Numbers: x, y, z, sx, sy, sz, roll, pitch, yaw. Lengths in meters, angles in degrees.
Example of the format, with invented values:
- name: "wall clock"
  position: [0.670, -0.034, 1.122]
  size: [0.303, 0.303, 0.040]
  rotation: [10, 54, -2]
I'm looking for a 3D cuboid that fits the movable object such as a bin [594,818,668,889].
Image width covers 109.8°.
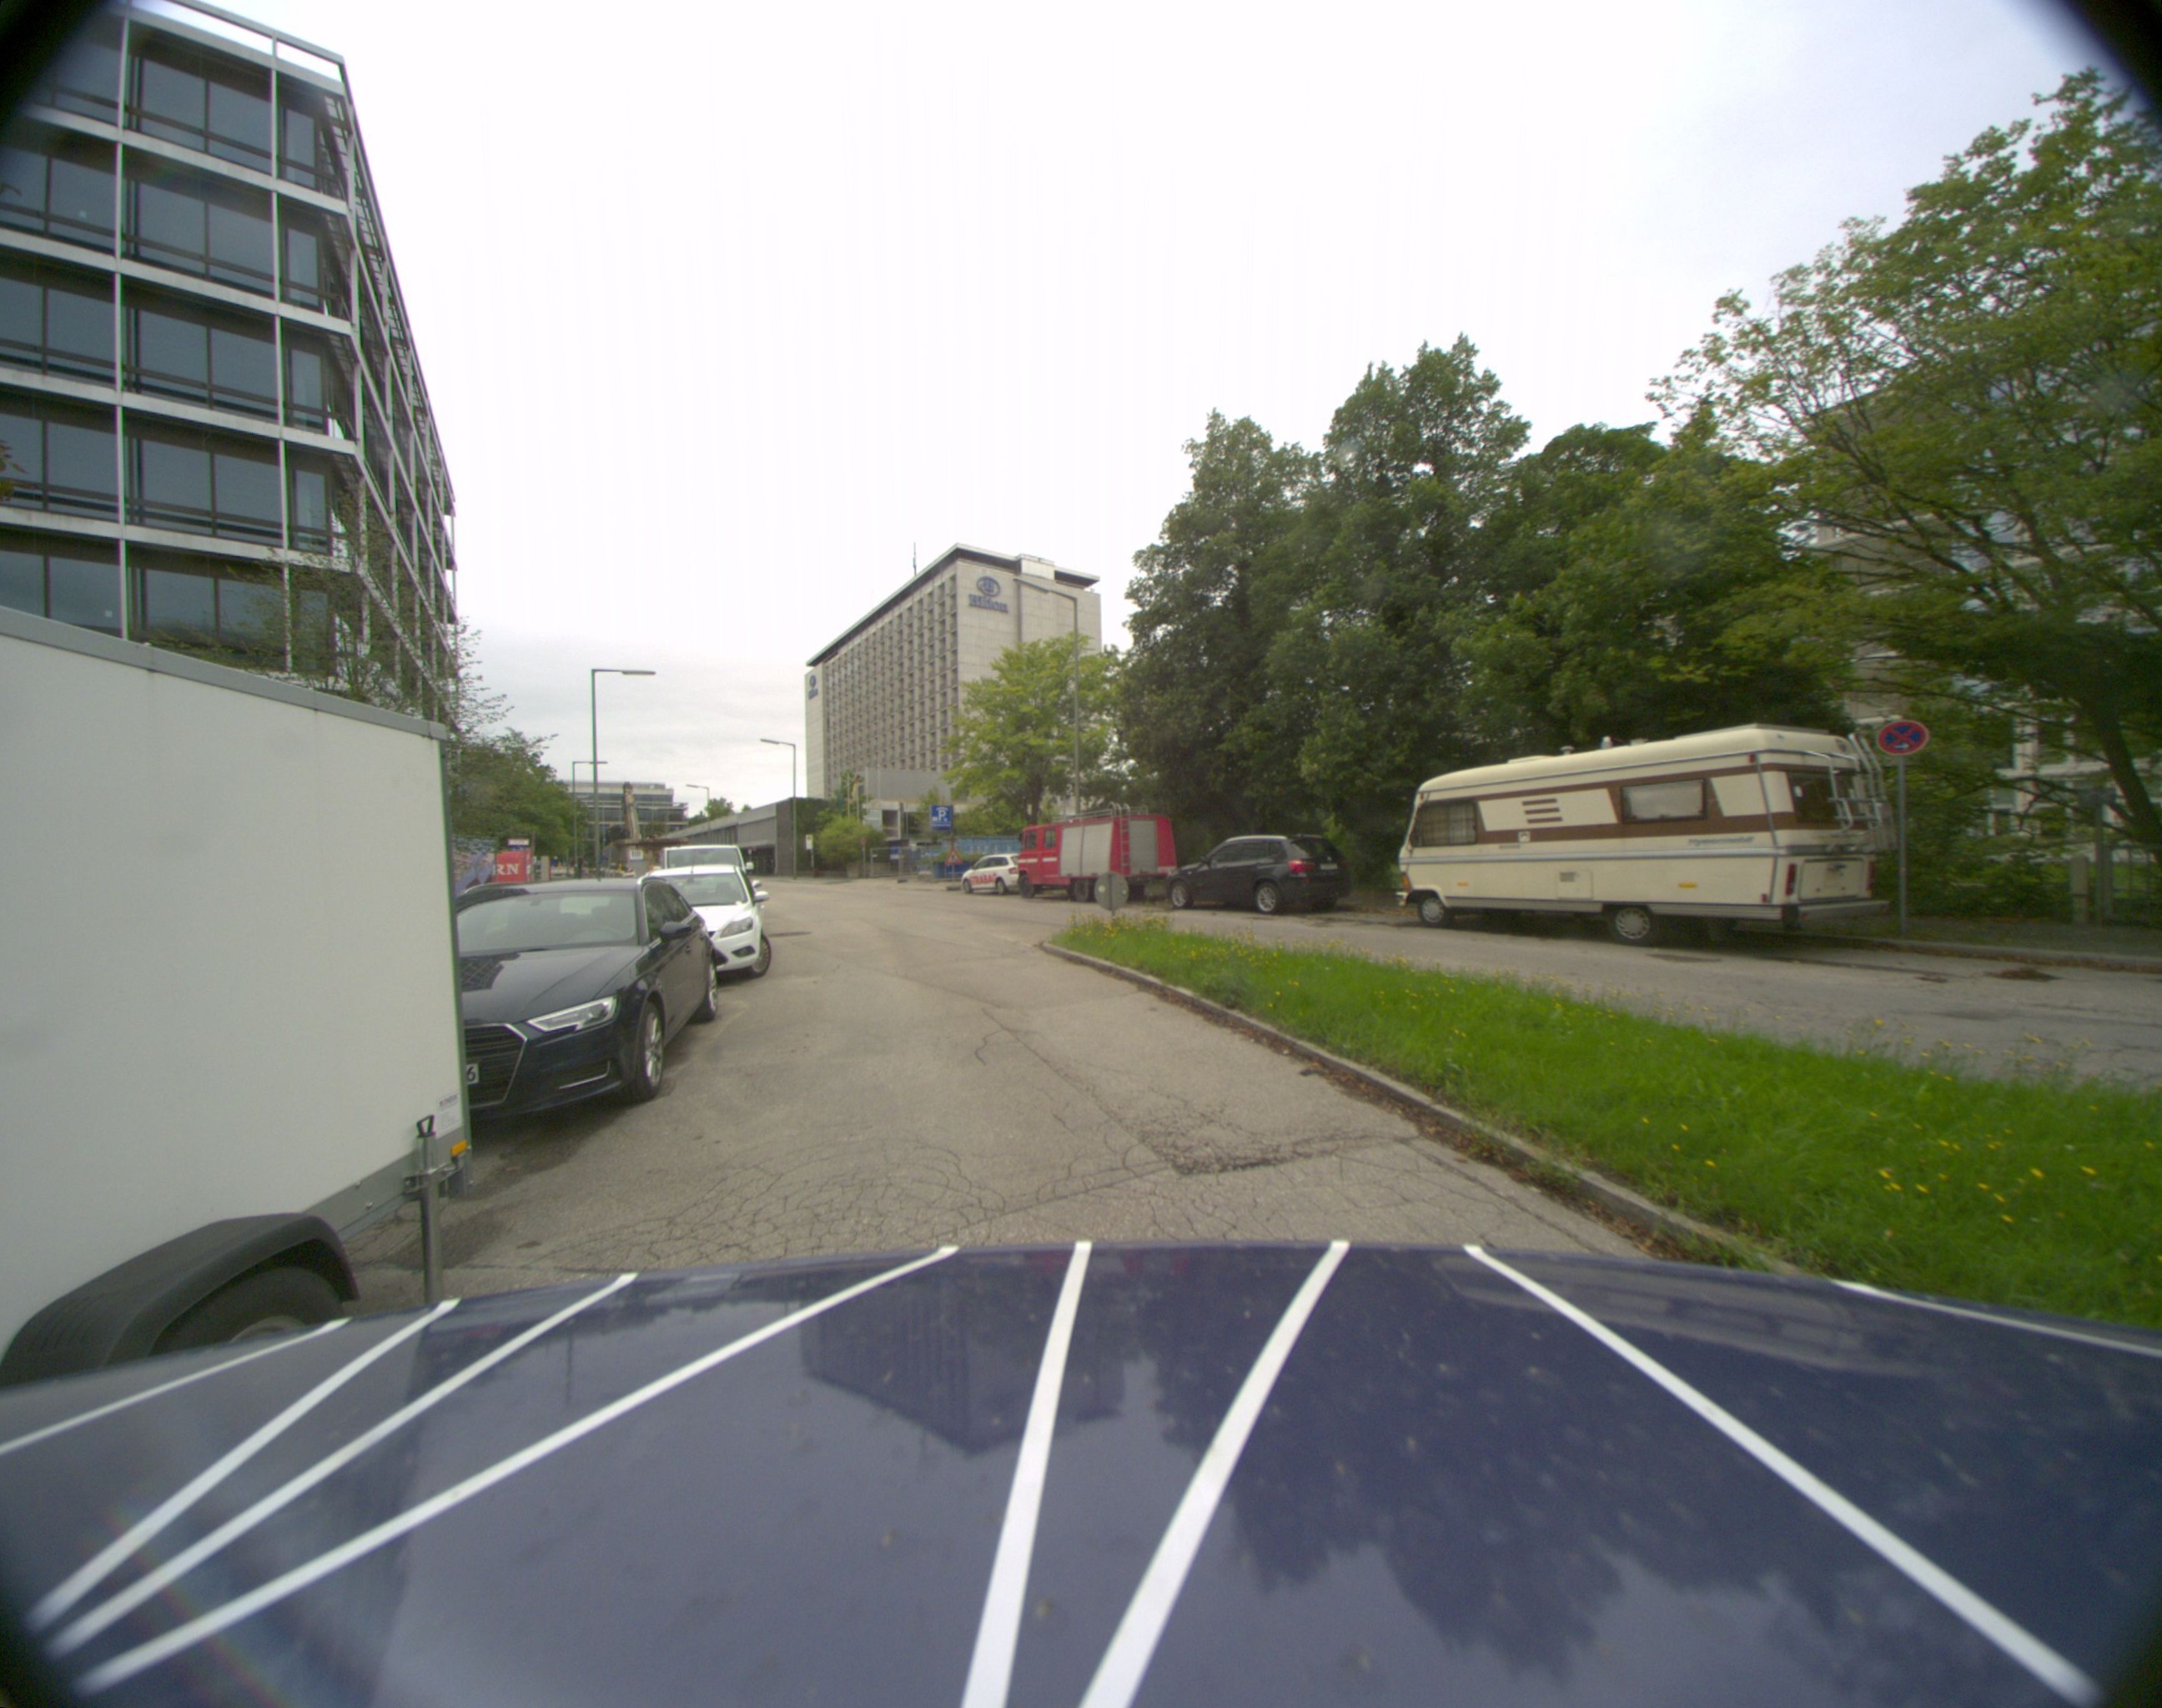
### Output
- name: "movable object such as a bin"
  position: [-26.229, -0.083, 44.084]
  size: [3.257, 3.695, 8.985]
  rotation: [-2, 1, -32]

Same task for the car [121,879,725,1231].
- name: "car"
  position: [-4.026, 0.972, 5.727]
  size: [1.879, 1.428, 4.321]
  rotation: [0, 0, -18]

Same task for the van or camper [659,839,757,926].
- name: "van or camper"
  position: [-10.114, 0.642, 20.343]
  size: [2.003, 2.002, 5.363]
  rotation: [-2, 1, -29]

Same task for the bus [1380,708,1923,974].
- name: "bus"
  position: [7.327, -0.138, 10.752]
  size: [2.325, 2.683, 5.722]
  rotation: [-1, 0, -25]

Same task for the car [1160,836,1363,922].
- name: "car"
  position: [3.876, 0.491, 17.092]
  size: [1.785, 1.640, 4.449]
  rotation: [-2, 0, -32]

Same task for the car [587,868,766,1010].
- name: "car"
  position: [-5.448, 0.987, 10.751]
  size: [1.774, 1.477, 4.213]
  rotation: [-1, 1, -22]

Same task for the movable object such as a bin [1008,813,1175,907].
- name: "movable object such as a bin"
  position: [0.088, 0.159, 23.048]
  size: [2.114, 2.444, 6.172]
  rotation: [-2, 0, -30]

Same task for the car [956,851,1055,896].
- name: "car"
  position: [-2.933, 0.712, 28.852]
  size: [1.785, 1.540, 4.246]
  rotation: [-2, 0, -37]

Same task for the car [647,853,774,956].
- name: "car"
  position: [-7.623, 0.874, 15.551]
  size: [2.003, 1.718, 4.439]
  rotation: [-2, 1, -28]

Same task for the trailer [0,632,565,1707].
- name: "trailer"
  position: [-2.679, 0.638, 0.498]
  size: [1.814, 2.002, 4.830]
  rotation: [-1, 1, -7]
